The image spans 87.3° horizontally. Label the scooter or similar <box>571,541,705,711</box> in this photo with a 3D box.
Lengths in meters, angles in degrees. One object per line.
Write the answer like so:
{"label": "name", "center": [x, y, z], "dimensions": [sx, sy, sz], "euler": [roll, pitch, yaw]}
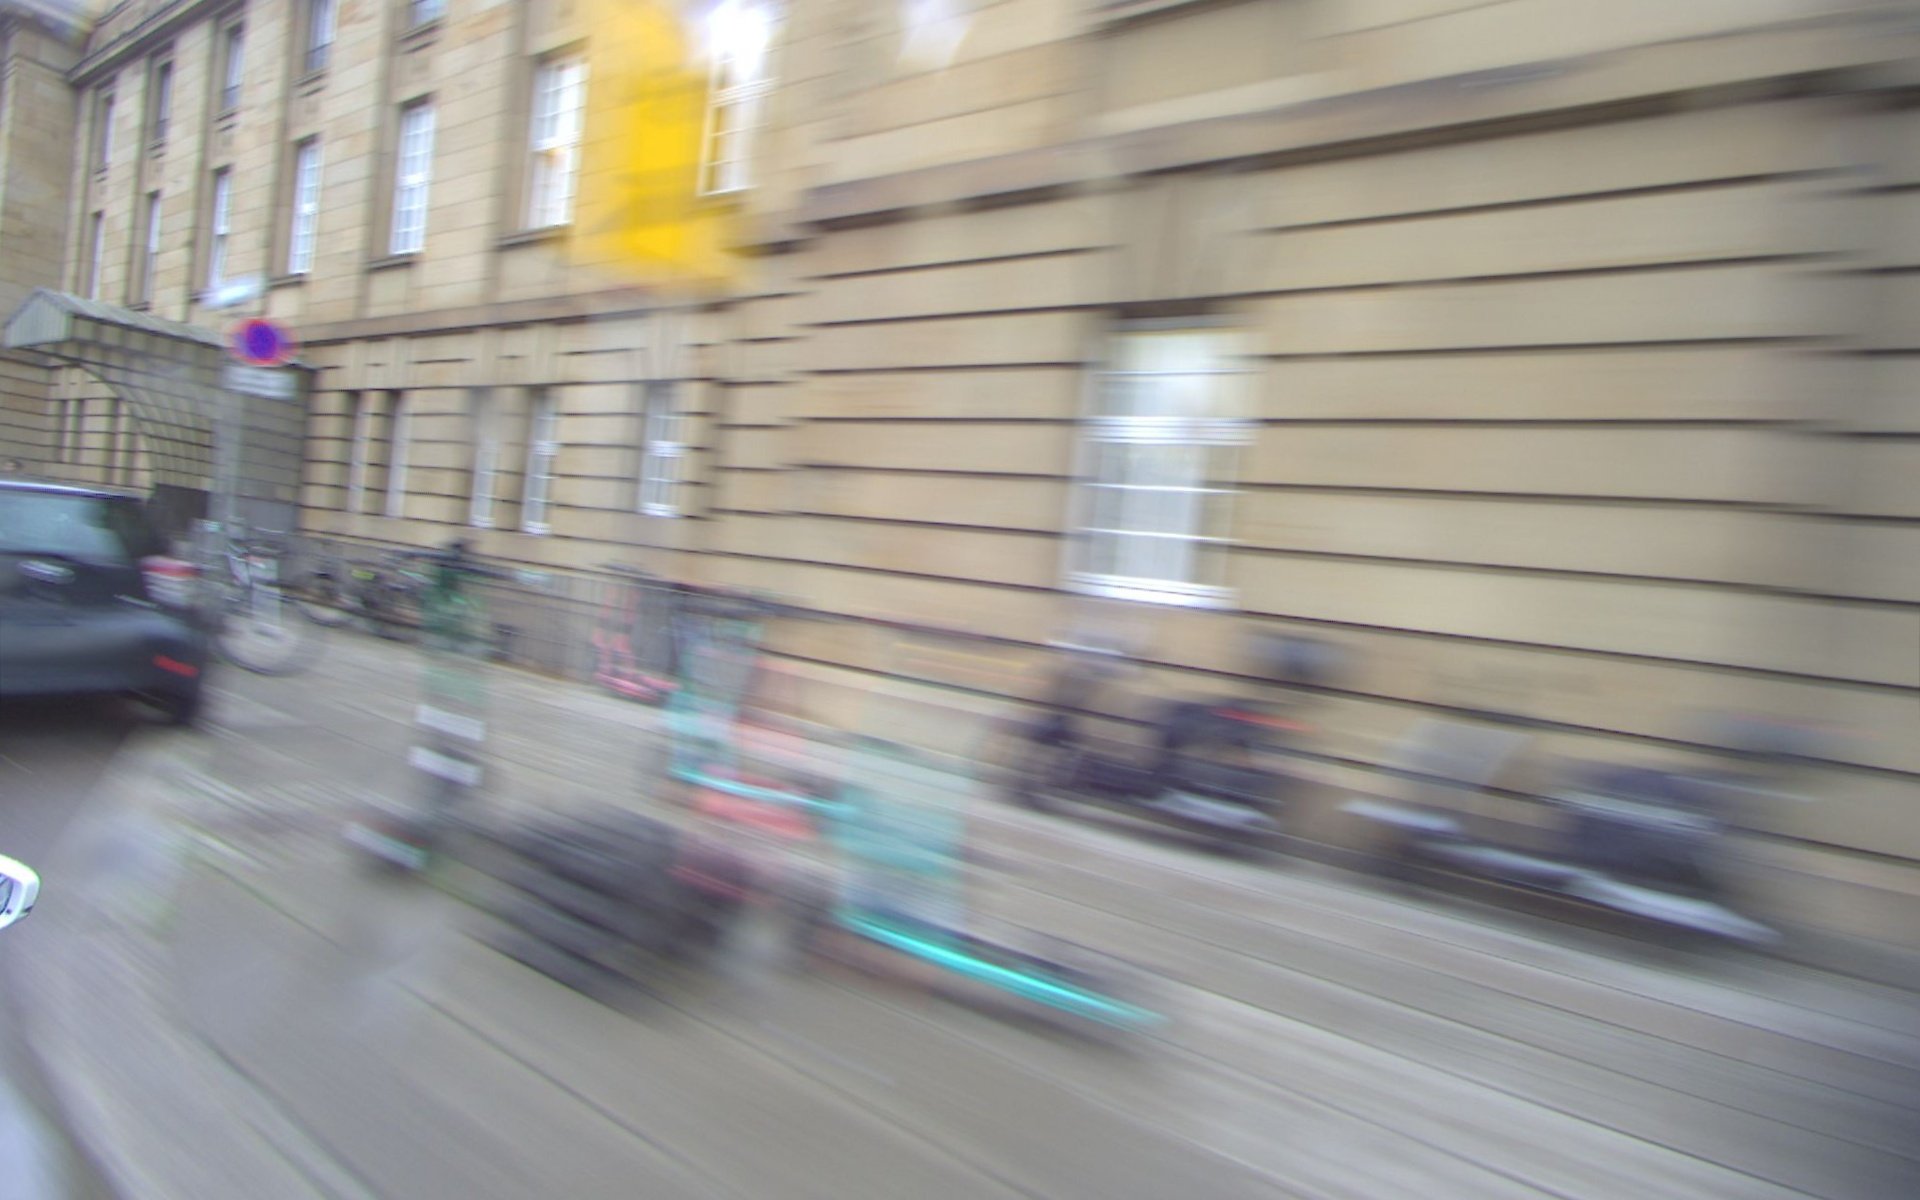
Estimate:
{"label": "scooter or similar", "center": [-2.999, 0.219, 9.335], "dimensions": [1.249, 1.435, 0.413], "euler": [6, 0, 37]}

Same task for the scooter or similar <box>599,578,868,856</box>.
{"label": "scooter or similar", "center": [-1.226, 0.611, 5.509], "dimensions": [1.234, 1.309, 0.435], "euler": [6, 0, 10]}

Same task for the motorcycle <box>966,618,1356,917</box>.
{"label": "motorcycle", "center": [1.139, 0.900, 6.064], "dimensions": [2.102, 1.342, 0.667], "euler": [6, 0, 37]}

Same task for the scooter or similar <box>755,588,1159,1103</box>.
{"label": "scooter or similar", "center": [-0.011, 0.696, 3.207], "dimensions": [1.057, 1.336, 0.435], "euler": [7, 1, 23]}

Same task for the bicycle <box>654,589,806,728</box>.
{"label": "bicycle", "center": [-2.137, 0.500, 9.174], "dimensions": [0.417, 1.062, 1.750], "euler": [6, 0, -44]}

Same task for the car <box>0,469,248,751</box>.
{"label": "car", "center": [-5.963, -0.065, 6.203], "dimensions": [3.105, 1.433, 1.755], "euler": [6, 3, 38]}

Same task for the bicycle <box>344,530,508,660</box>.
{"label": "bicycle", "center": [-6.086, -0.065, 11.455], "dimensions": [1.728, 1.284, 0.731], "euler": [6, 1, 28]}

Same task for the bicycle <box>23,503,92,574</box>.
{"label": "bicycle", "center": [-17.511, -1.198, 19.513], "dimensions": [1.663, 1.230, 0.464], "euler": [6, 0, 32]}

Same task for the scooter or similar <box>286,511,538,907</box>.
{"label": "scooter or similar", "center": [-2.233, 0.396, 4.257], "dimensions": [0.428, 1.385, 1.329], "euler": [6, 0, -11]}

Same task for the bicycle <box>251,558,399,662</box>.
{"label": "bicycle", "center": [-7.781, 0.113, 12.313], "dimensions": [1.710, 1.064, 0.713], "euler": [6, 0, 29]}

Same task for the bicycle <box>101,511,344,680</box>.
{"label": "bicycle", "center": [-6.483, -0.055, 8.834], "dimensions": [1.929, 1.235, 0.777], "euler": [6, 2, 22]}

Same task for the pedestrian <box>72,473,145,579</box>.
{"label": "pedestrian", "center": [-15.136, -1.305, 17.883], "dimensions": [0.631, 1.802, 0.794], "euler": [7, 4, 33]}

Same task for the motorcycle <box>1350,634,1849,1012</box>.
{"label": "motorcycle", "center": [2.967, 0.933, 4.831], "dimensions": [1.772, 1.314, 0.806], "euler": [6, 0, 37]}

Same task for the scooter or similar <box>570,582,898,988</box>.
{"label": "scooter or similar", "center": [-0.853, 0.602, 3.710], "dimensions": [1.103, 1.233, 0.433], "euler": [6, 3, 31]}

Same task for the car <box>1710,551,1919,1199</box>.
{"label": "car", "center": [3.156, 0.975, 0.395], "dimensions": [4.332, 1.640, 1.872], "euler": [7, 1, 33]}

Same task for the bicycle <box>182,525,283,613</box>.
{"label": "bicycle", "center": [-10.164, -0.447, 14.028], "dimensions": [1.732, 1.050, 0.583], "euler": [6, 0, 37]}
